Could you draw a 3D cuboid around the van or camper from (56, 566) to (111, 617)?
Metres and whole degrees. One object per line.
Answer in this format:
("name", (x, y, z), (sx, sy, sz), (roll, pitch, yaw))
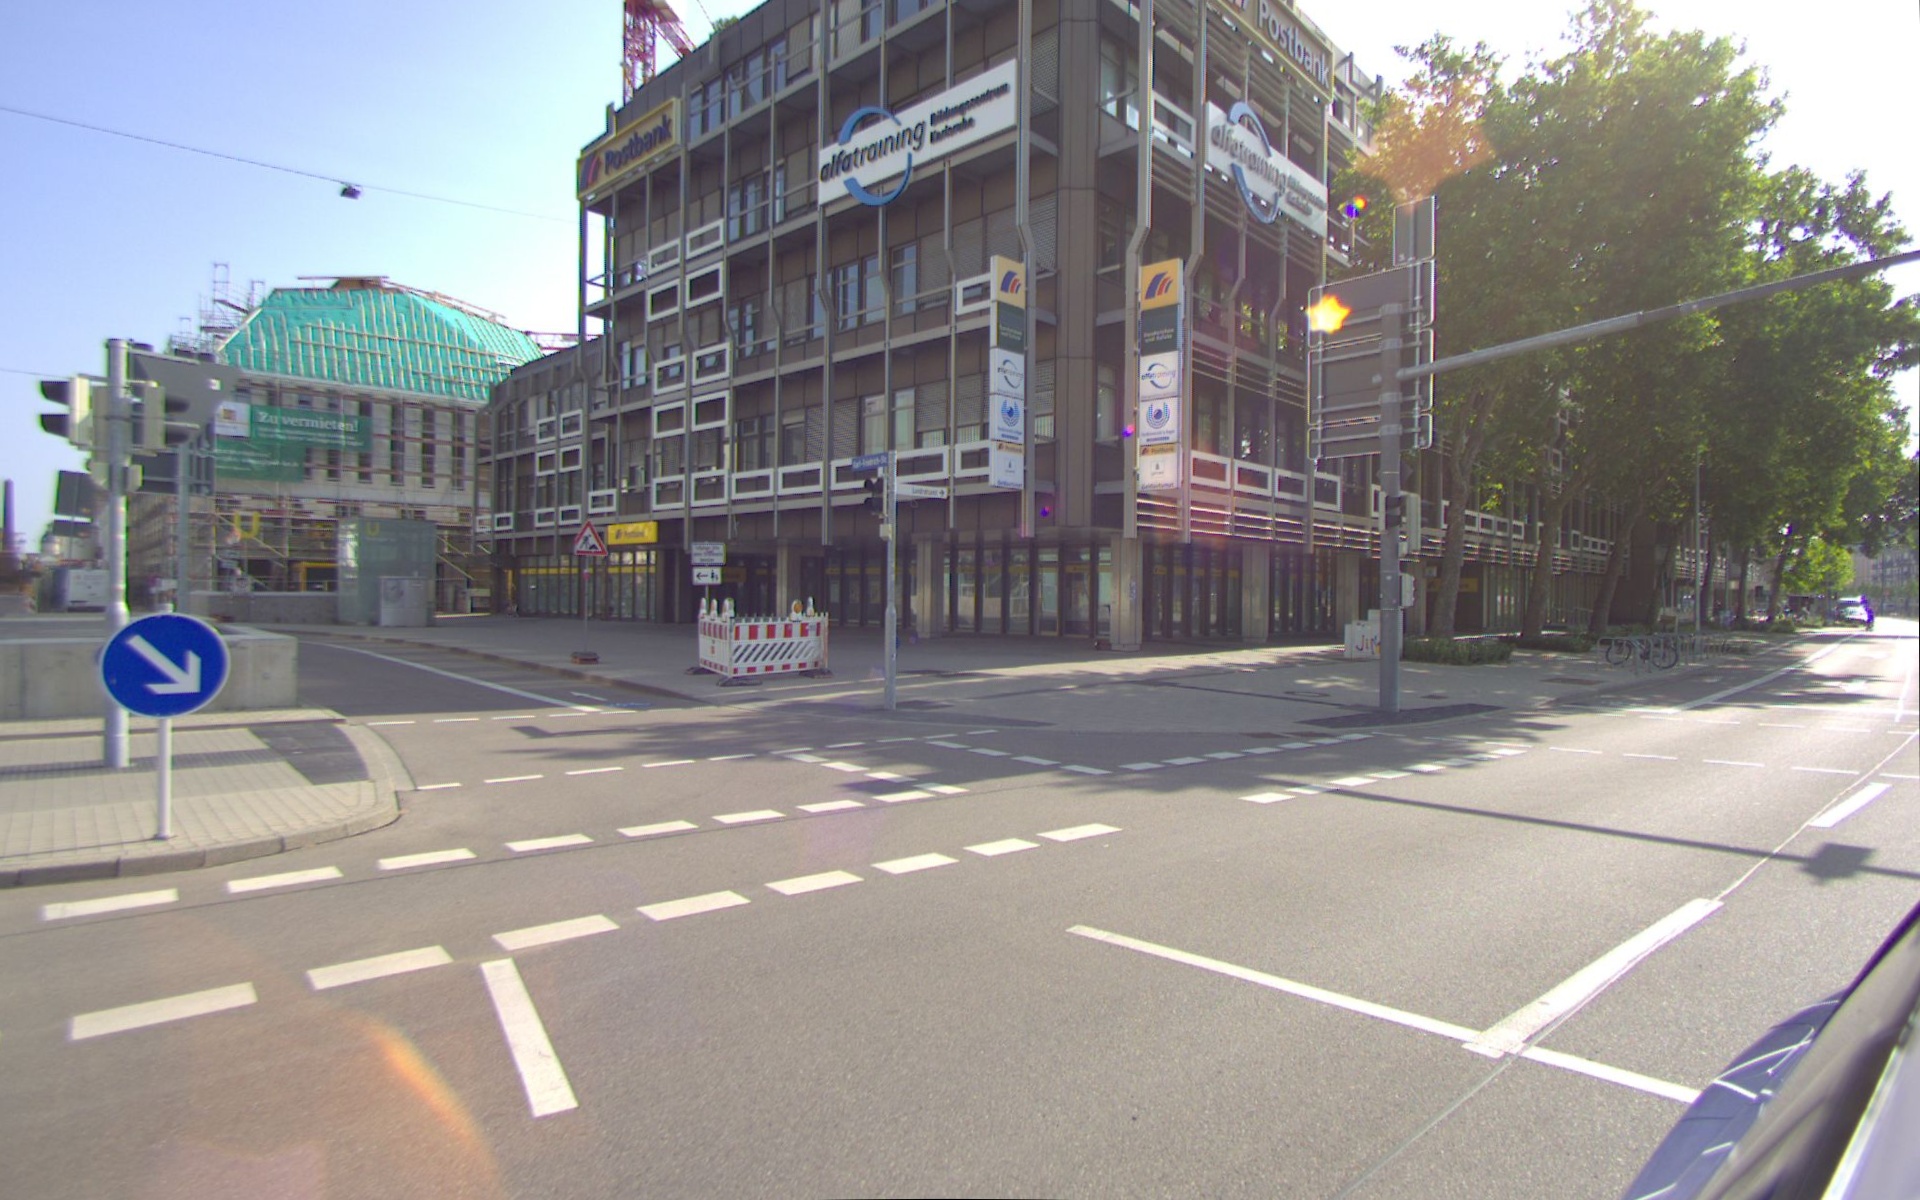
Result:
("van or camper", (-44.547, -0.439, 51.398), (1.966, 2.440, 5.133), (1, 0, -43))

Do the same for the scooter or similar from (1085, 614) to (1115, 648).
("scooter or similar", (3.697, 0.807, 26.678), (0.278, 0.854, 0.944), (0, 0, 44))

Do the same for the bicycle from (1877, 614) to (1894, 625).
("bicycle", (66.807, 1.413, 73.057), (0.626, 0.715, 1.787), (0, 0, 34))

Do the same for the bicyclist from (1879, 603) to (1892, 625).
("bicyclist", (66.816, 1.003, 73.055), (0.608, 1.532, 0.804), (0, 0, 34))

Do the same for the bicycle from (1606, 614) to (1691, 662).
("bicycle", (18.832, 1.019, 27.710), (0.528, 1.203, 1.831), (0, 1, -40))
